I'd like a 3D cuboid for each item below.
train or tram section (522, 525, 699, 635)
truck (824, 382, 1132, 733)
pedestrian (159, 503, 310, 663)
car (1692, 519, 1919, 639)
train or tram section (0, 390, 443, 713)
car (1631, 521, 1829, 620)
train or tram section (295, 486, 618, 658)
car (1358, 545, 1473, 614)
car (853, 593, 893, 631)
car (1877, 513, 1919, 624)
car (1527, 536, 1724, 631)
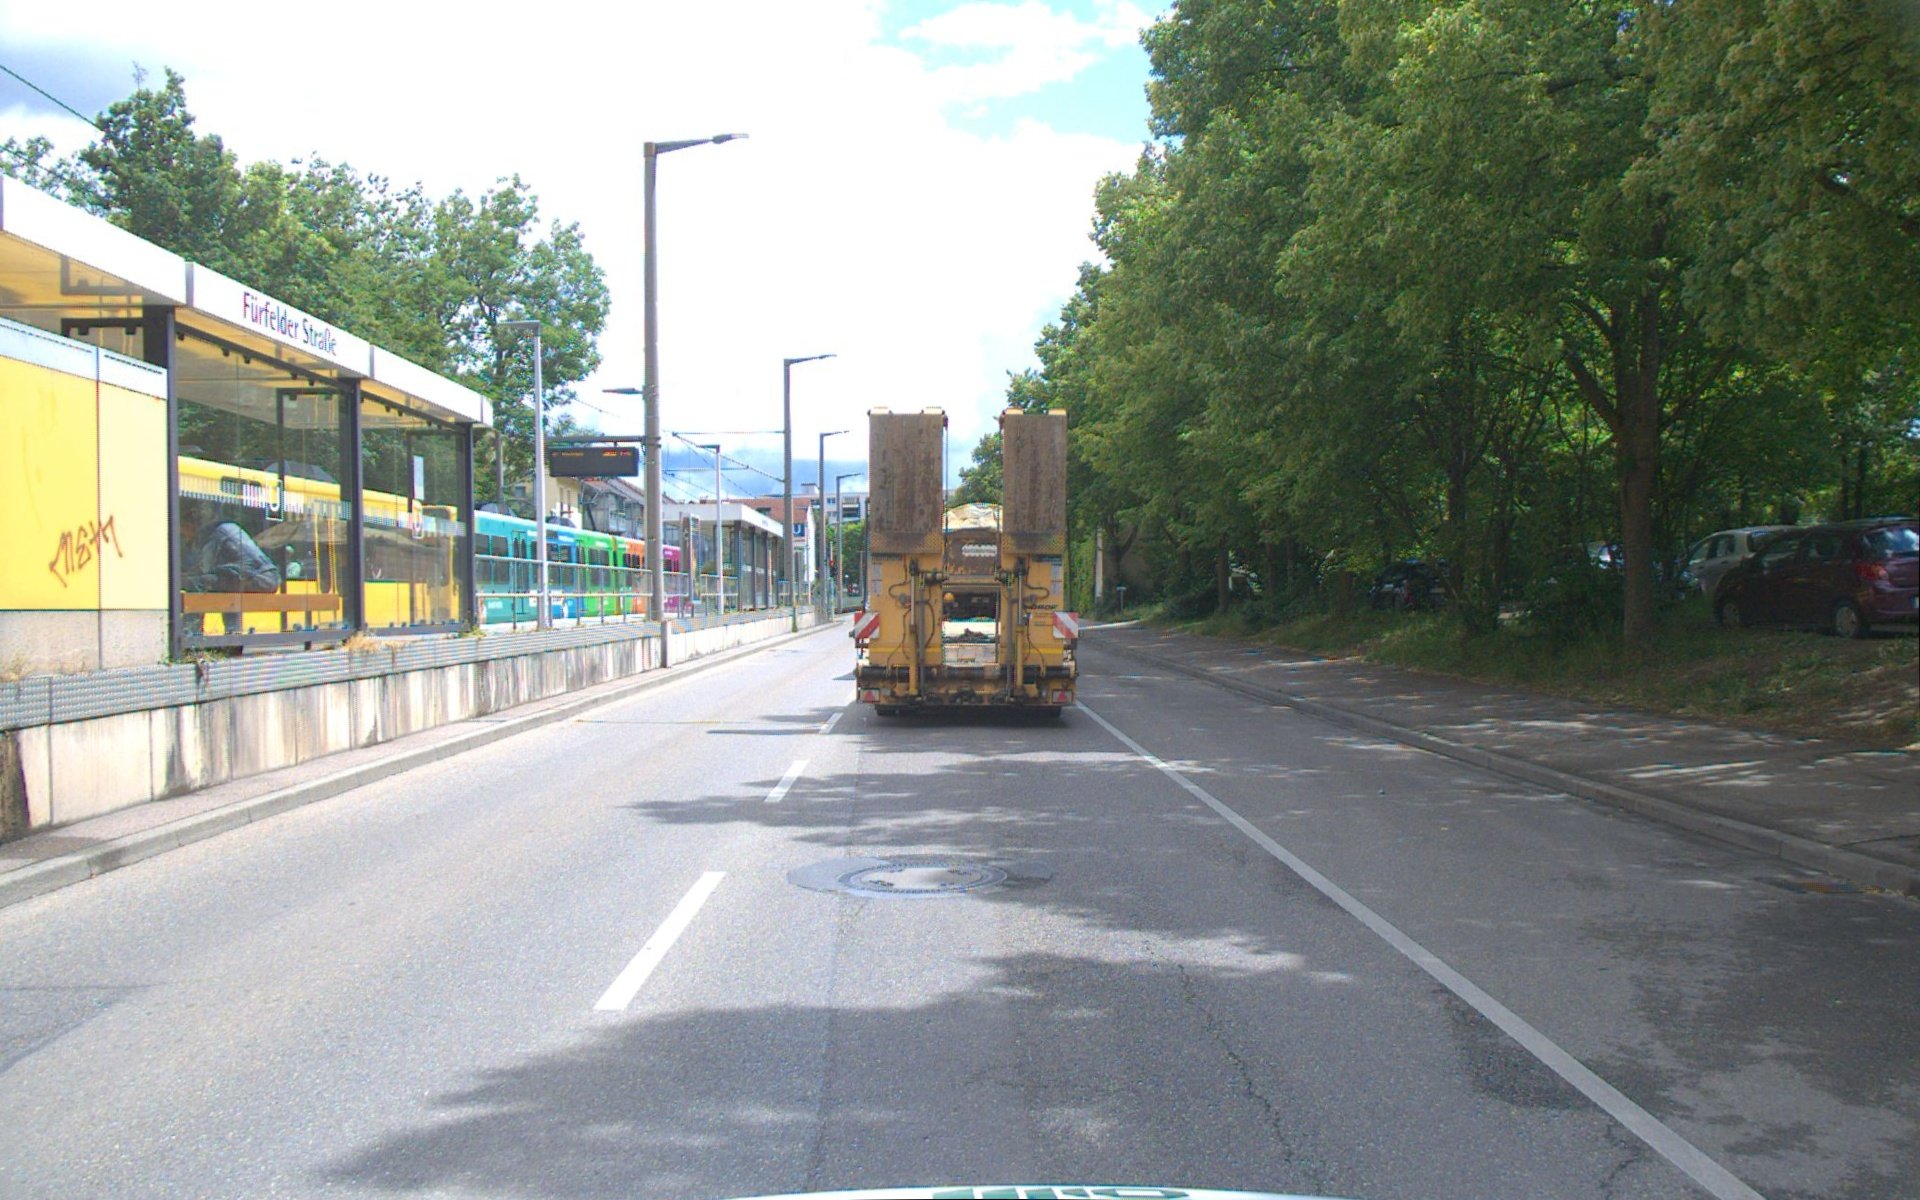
[{"bbox_3d":[-12.801,-0.661,63.059,3.045,3.525,19.084,1,0,-1],"label":"train or tram section"},{"bbox_3d":[-0.193,-0.499,24.971,3.335,3.797,13.729,-1,0,-3],"label":"truck"},{"bbox_3d":[-5.804,-0.136,13.288,0.780,1.207,0.919,-3,0,-2],"label":"pedestrian"},{"bbox_3d":[11.706,-0.290,22.239,1.579,1.438,3.811,-3,0,-8],"label":"car"},{"bbox_3d":[-12.113,-0.562,24.836,3.045,3.525,18.992,1,0,-1],"label":"train or tram section"},{"bbox_3d":[13.911,-0.499,30.145,1.602,1.594,3.988,-3,0,-2],"label":"car"},{"bbox_3d":[-12.439,-0.611,43.927,3.045,3.525,19.193,1,0,-1],"label":"train or tram section"},{"bbox_3d":[11.396,-0.485,41.641,1.680,1.534,4.159,-4,0,0],"label":"car"},{"bbox_3d":[-4.047,0.558,77.696,1.685,1.712,4.386,1,0,-1],"label":"car"},{"bbox_3d":[14.120,-0.494,22.093,1.658,1.534,3.622,-4,0,0],"label":"car"},{"bbox_3d":[11.696,-0.264,29.354,1.761,1.489,3.988,-3,0,-2],"label":"car"}]
